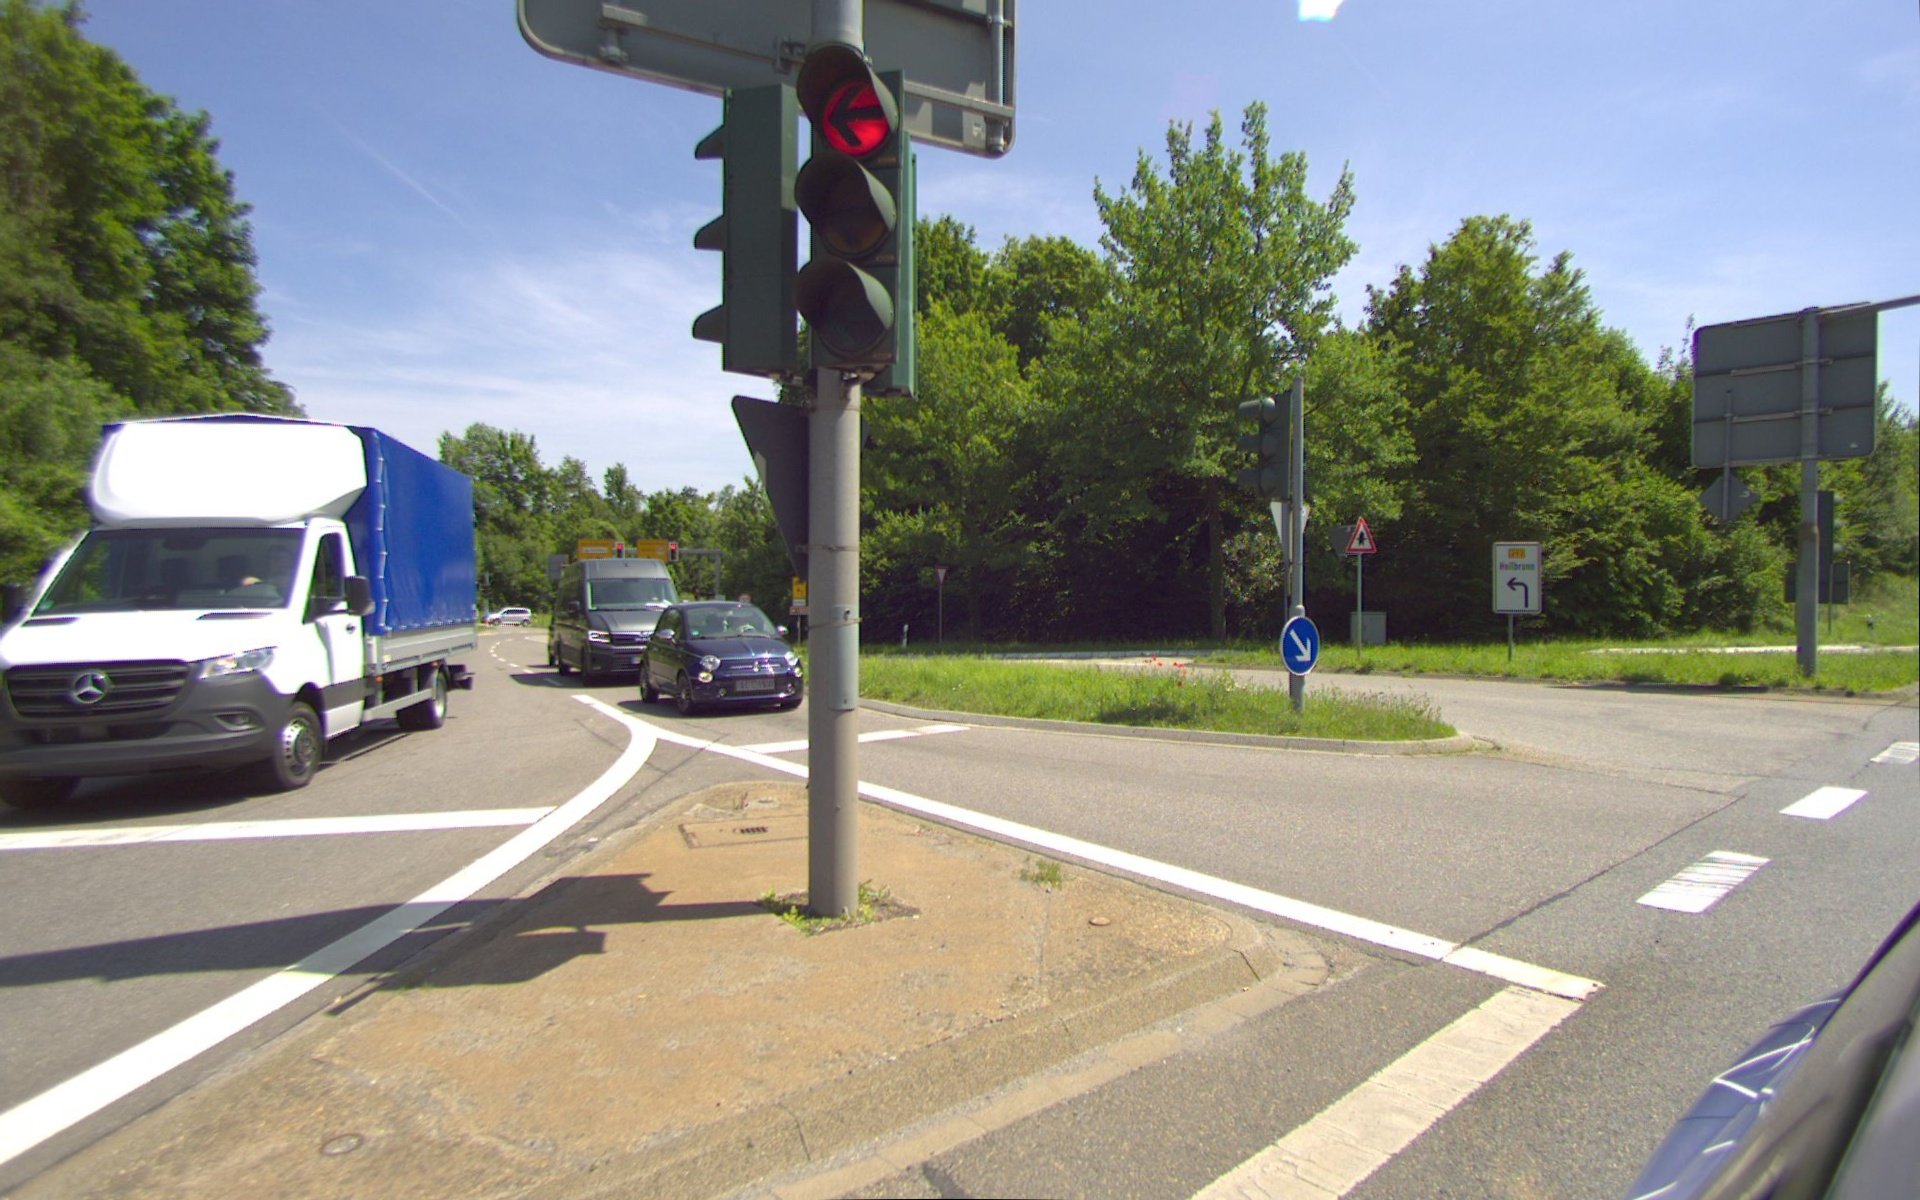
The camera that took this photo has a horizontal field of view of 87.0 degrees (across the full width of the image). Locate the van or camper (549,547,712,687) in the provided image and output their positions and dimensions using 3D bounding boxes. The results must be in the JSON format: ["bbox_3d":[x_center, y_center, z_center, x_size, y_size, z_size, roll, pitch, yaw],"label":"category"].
[{"bbox_3d":[-7.333,0.354,21.834,2.360,2.509,7.245,0,-1,-26],"label":"van or camper"}]

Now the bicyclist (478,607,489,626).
[{"bbox_3d":[-37.049,1.263,78.686,0.579,1.483,0.574,-1,-1,32],"label":"bicyclist"}]

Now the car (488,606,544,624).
[{"bbox_3d":[-38.944,1.327,88.798,1.727,1.503,4.211,0,0,36],"label":"car"}]

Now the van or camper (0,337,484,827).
[{"bbox_3d":[-6.784,-0.158,10.354,2.060,3.252,7.268,-2,1,-14],"label":"van or camper"}]

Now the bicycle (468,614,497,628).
[{"bbox_3d":[-37.087,1.595,78.599,0.596,1.021,2.101,0,0,32],"label":"bicycle"}]

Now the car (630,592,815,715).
[{"bbox_3d":[-3.449,0.681,14.291,1.656,1.484,3.362,-1,-1,-29],"label":"car"}]
